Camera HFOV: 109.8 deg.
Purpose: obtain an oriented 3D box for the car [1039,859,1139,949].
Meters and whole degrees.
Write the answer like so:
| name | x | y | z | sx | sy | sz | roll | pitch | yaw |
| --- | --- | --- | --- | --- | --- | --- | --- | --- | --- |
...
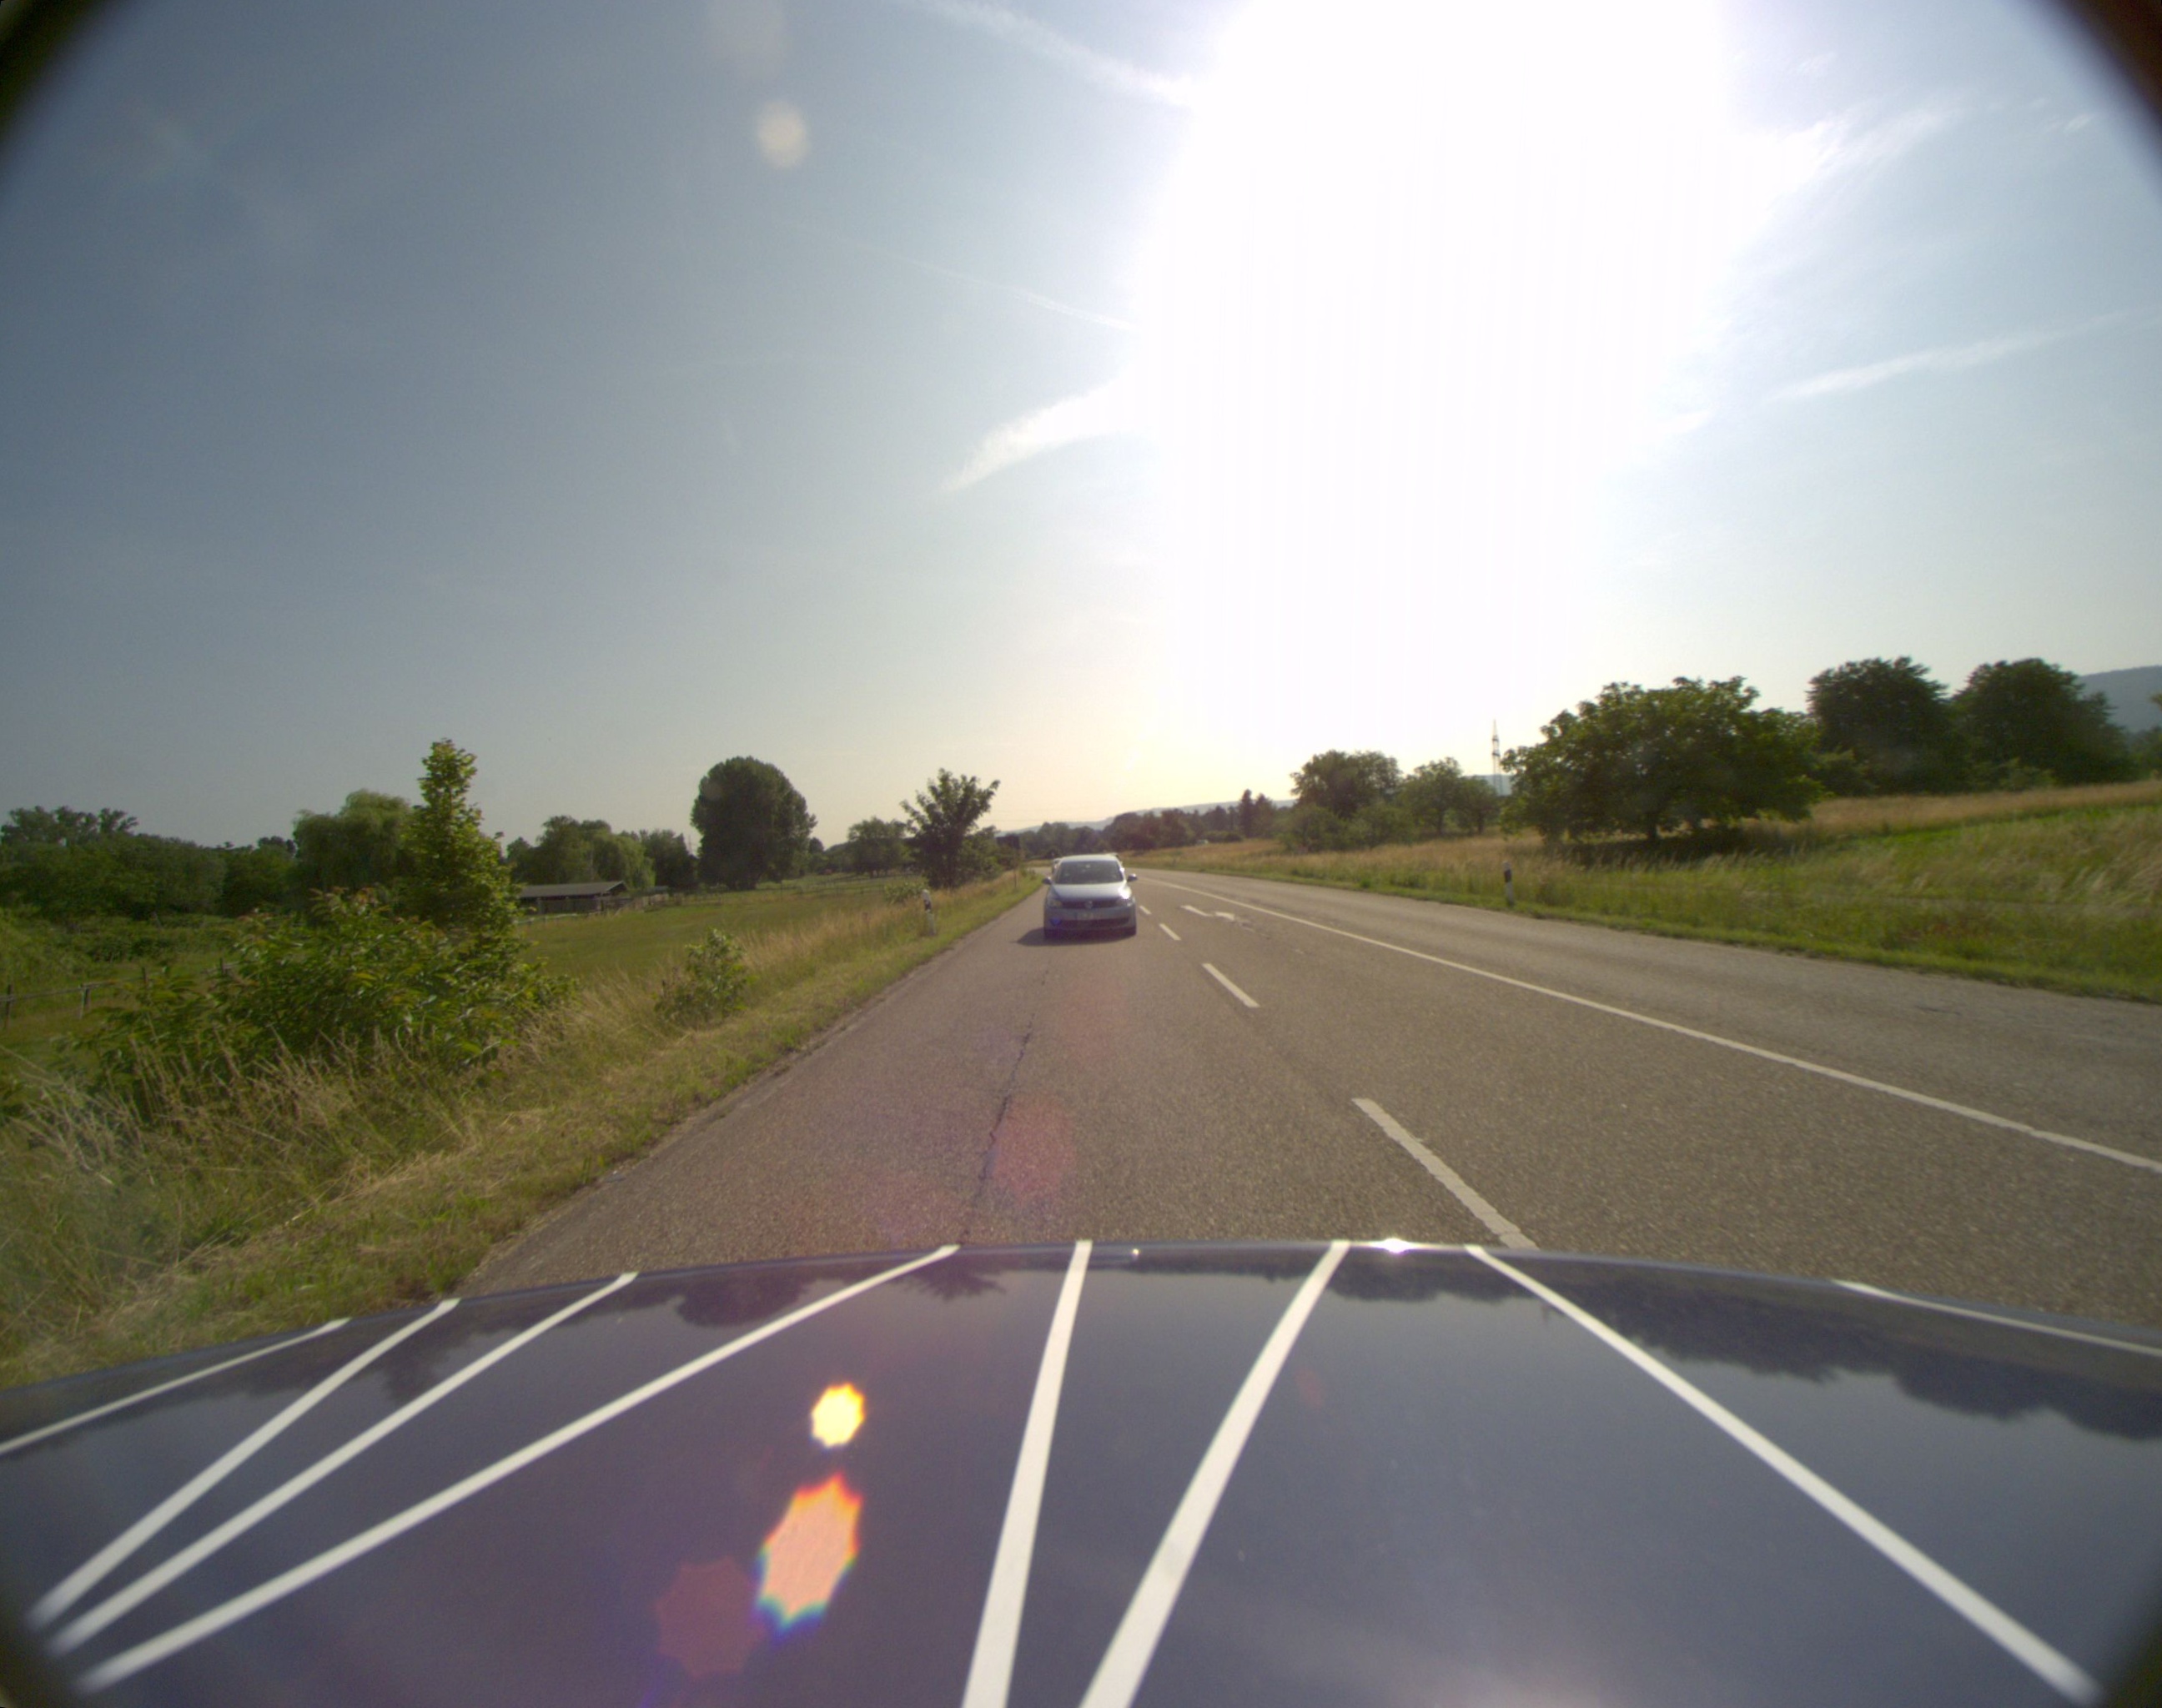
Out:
| name | x | y | z | sx | sy | sz | roll | pitch | yaw |
| --- | --- | --- | --- | --- | --- | --- | --- | --- | --- |
| car | 0.232 | 0.902 | 15.509 | 1.717 | 1.495 | 4.094 | -2 | 0 | 3 |

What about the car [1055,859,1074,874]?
| name | x | y | z | sx | sy | sz | roll | pitch | yaw |
| --- | --- | --- | --- | --- | --- | --- | --- | --- | --- |
| car | -1.927 | 1.401 | 86.223 | 1.999 | 1.570 | 3.908 | -5 | 0 | -2 |

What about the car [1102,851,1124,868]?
| name | x | y | z | sx | sy | sz | roll | pitch | yaw |
| --- | --- | --- | --- | --- | --- | --- | --- | --- | --- |
| car | 3.164 | 0.544 | 75.859 | 1.817 | 1.576 | 4.224 | -2 | 0 | -1 |
